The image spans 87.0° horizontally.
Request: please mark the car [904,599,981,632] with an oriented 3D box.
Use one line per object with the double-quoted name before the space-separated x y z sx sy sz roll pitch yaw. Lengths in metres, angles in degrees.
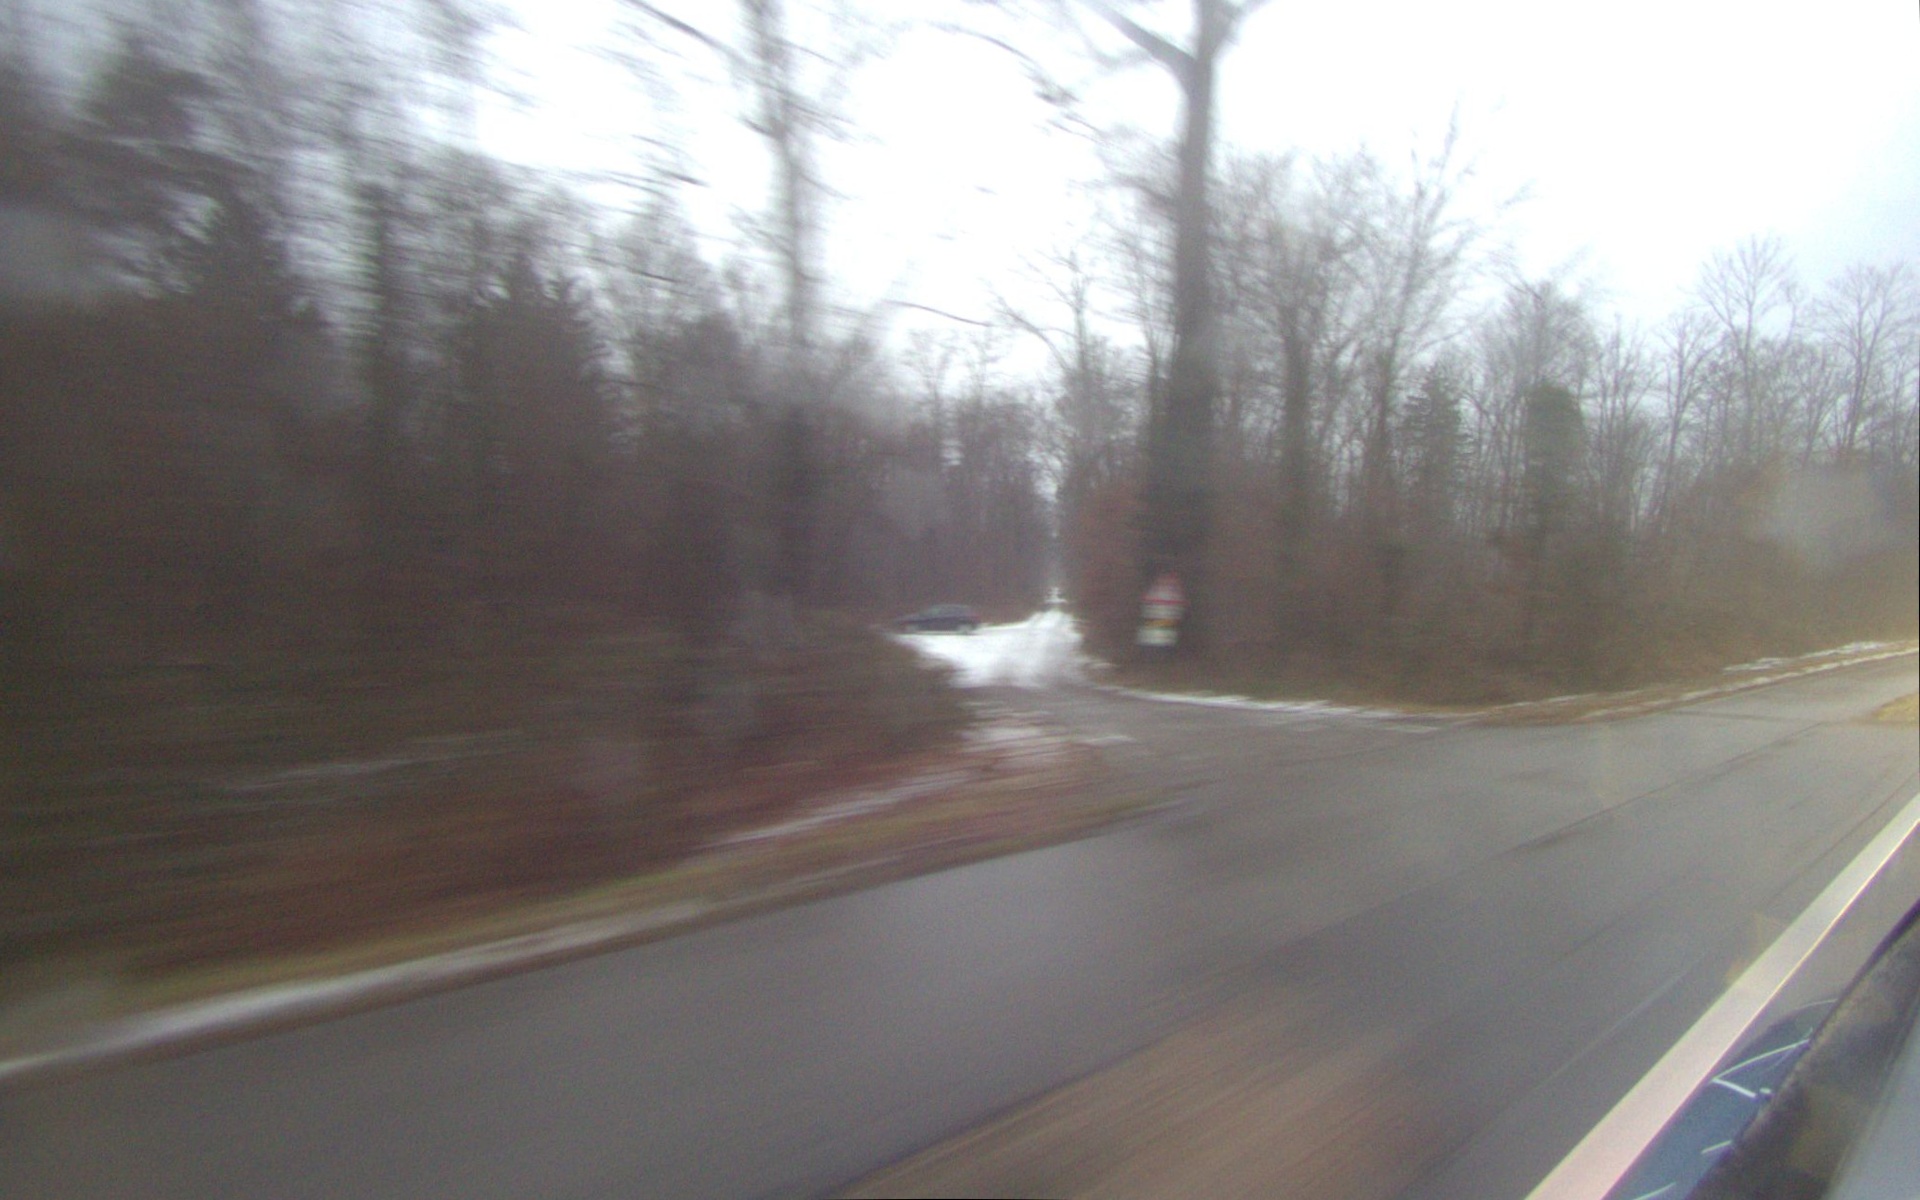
"car" -0.835 0.730 49.816 3.667 1.514 1.656 1 1 2
